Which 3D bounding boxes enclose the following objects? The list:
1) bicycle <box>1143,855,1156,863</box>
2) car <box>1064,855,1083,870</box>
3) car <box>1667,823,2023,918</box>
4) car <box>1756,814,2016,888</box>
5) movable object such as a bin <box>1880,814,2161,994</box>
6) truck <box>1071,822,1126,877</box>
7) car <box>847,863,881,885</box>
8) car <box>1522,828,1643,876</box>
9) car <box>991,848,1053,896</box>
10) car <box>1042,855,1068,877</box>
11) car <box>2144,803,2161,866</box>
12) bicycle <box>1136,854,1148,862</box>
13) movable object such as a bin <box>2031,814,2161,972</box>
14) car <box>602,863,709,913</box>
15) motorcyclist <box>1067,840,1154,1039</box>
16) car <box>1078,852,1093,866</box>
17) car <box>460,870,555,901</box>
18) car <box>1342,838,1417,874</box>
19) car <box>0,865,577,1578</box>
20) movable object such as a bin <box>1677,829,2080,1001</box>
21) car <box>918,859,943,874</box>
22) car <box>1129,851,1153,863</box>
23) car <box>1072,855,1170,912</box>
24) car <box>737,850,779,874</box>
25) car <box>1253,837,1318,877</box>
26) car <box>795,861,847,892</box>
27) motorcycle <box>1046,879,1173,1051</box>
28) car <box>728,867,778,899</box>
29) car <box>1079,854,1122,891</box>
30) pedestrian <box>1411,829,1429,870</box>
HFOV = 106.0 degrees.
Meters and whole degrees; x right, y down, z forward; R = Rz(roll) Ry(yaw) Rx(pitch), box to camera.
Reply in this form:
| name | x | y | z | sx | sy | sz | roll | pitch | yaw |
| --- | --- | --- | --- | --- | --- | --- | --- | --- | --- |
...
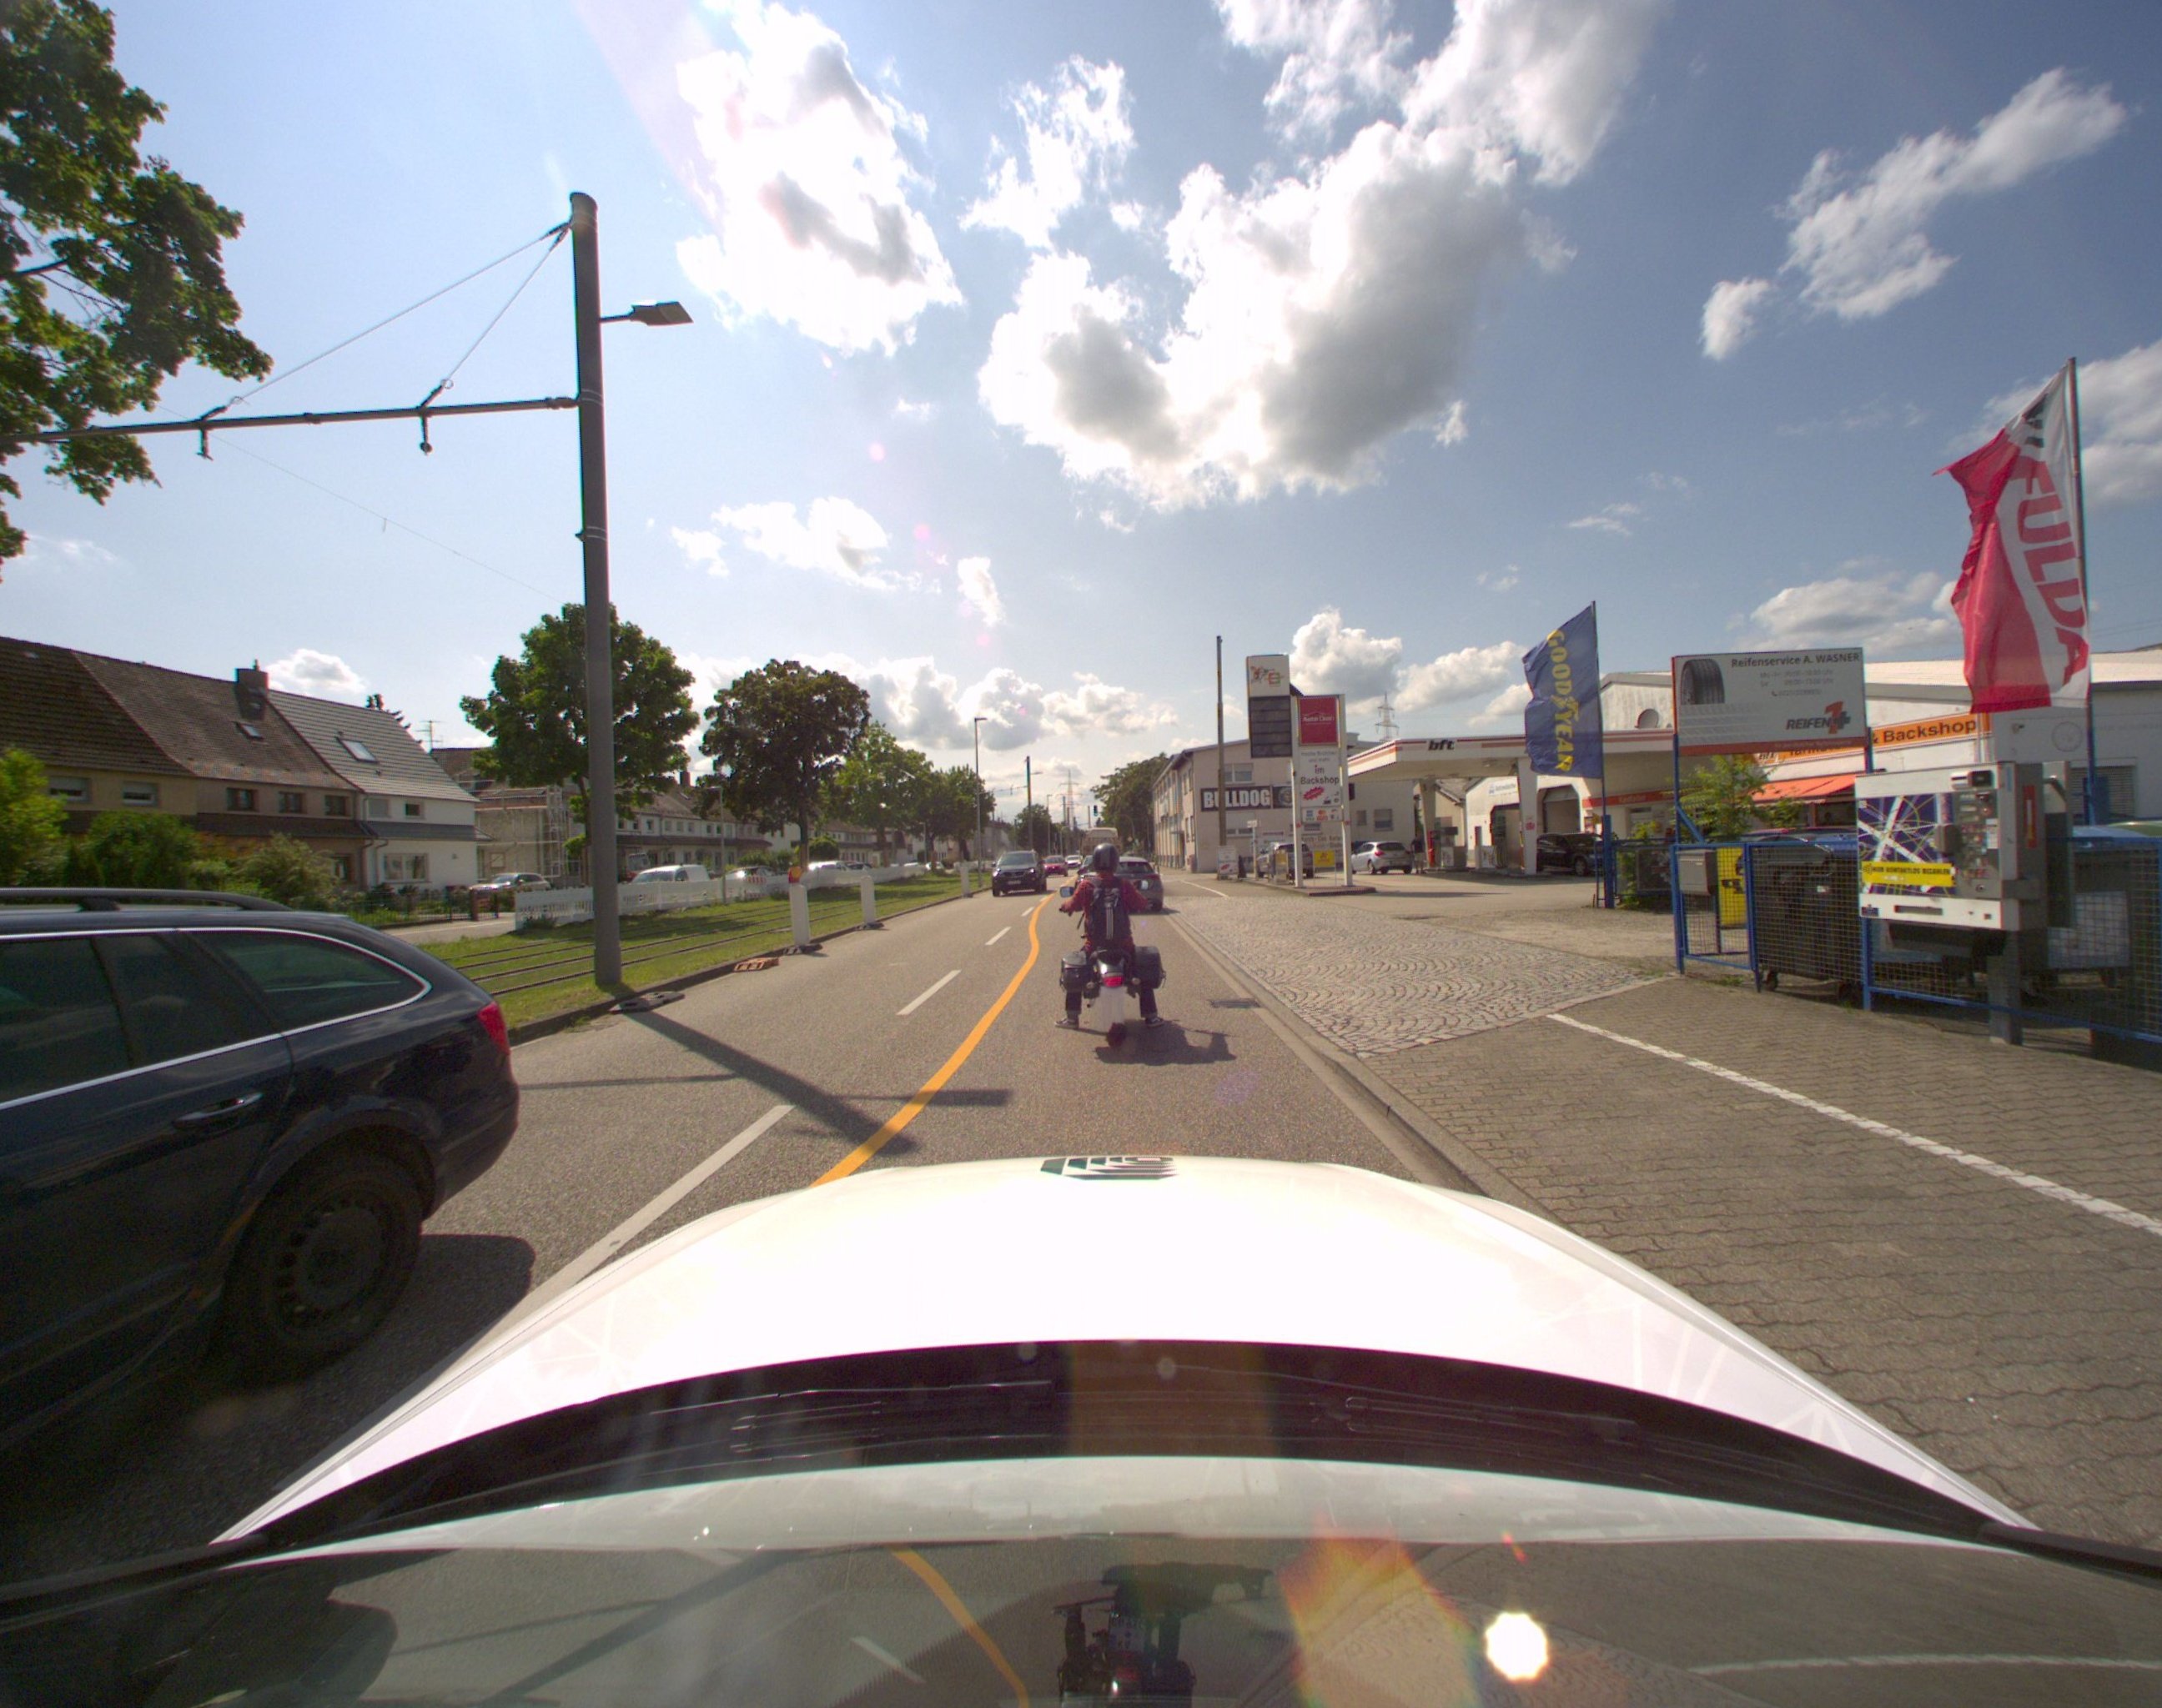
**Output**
| name | x | y | z | sx | sy | sz | roll | pitch | yaw |
| --- | --- | --- | --- | --- | --- | --- | --- | --- | --- |
| bicycle | 9.795 | 0.701 | 116.356 | 1.699 | 1.172 | 0.439 | 0 | -1 | 6 |
| car | -0.754 | 0.929 | 85.838 | 1.815 | 1.445 | 4.484 | -3 | -1 | 1 |
| car | 12.257 | 0.264 | 13.320 | 4.029 | 1.408 | 1.651 | -1 | 0 | 8 |
| car | 18.432 | -0.060 | 18.811 | 4.118 | 1.424 | 1.772 | -3 | -1 | 2 |
| movable object such as a bin | 8.794 | 0.398 | 7.304 | 1.526 | 1.410 | 1.765 | 0 | -1 | 1 |
| truck | 1.238 | -0.222 | 50.642 | 2.954 | 3.173 | 7.773 | 0 | -1 | 4 |
| car | -14.753 | 1.362 | 55.526 | 1.345 | 1.377 | 3.115 | -3 | -1 | 2 |
| car | 17.938 | -0.120 | 29.384 | 1.676 | 1.519 | 4.495 | -3 | 1 | 2 |
| car | -2.263 | 0.688 | 32.548 | 1.788 | 1.690 | 4.226 | -3 | -1 | 4 |
| car | -1.799 | 0.837 | 57.082 | 1.572 | 1.469 | 3.721 | 0 | -1 | 2 |
| car | 26.255 | -0.534 | 17.910 | 3.569 | 1.424 | 1.529 | -3 | -1 | 2 |
| bicycle | 8.766 | 0.529 | 117.704 | 1.699 | 1.172 | 0.439 | 0 | -1 | 6 |
| movable object such as a bin | 10.382 | 0.343 | 7.357 | 1.526 | 1.410 | 1.765 | 0 | -1 | 1 |
| car | -15.465 | 1.196 | 29.868 | 1.647 | 1.626 | 4.002 | -3 | -1 | 2 |
| motorcyclist | 0.247 | 0.697 | 6.946 | 0.695 | 1.604 | 0.692 | 0 | -1 | 1 |
| car | 0.638 | 0.628 | 106.331 | 1.818 | 1.666 | 4.463 | -3 | -1 | 1 |
| car | -27.343 | 1.467 | 38.995 | 1.528 | 1.275 | 4.121 | -3 | -1 | 2 |
| car | 13.505 | 0.114 | 37.159 | 1.687 | 1.471 | 4.421 | -3 | -1 | -1 |
| car | -3.181 | 0.840 | 1.416 | 1.705 | 1.486 | 4.535 | -3 | 0 | 0 |
| movable object such as a bin | 6.968 | 0.493 | 7.335 | 1.956 | 1.347 | 1.708 | 0 | -1 | 0 |
| car | -13.948 | 1.140 | 75.522 | 1.516 | 1.354 | 3.622 | 0 | -1 | 2 |
| car | 10.044 | 0.508 | 136.476 | 4.022 | 1.926 | 1.781 | 0 | -1 | -43 |
| car | 0.989 | 0.738 | 22.235 | 1.732 | 1.403 | 4.070 | 0 | 0 | -11 |
| car | -27.949 | 0.735 | 70.669 | 1.986 | 2.014 | 4.000 | 0 | -1 | 1 |
| car | 9.127 | 0.136 | 36.742 | 1.938 | 1.625 | 4.619 | -1 | 0 | 3 |
| car | -15.168 | 1.300 | 47.720 | 1.616 | 1.651 | 3.900 | -3 | -1 | 2 |
| motorcycle | 0.254 | 0.864 | 7.300 | 0.939 | 1.200 | 2.473 | 0 | 0 | 2 |
| car | -15.140 | 1.328 | 37.706 | 1.067 | 1.348 | 2.452 | -3 | -1 | 5 |
| car | 0.865 | 0.718 | 33.873 | 1.637 | 1.444 | 3.751 | 0 | 0 | 3 |
| pedestrian | 14.692 | -0.192 | 35.299 | 0.495 | 1.776 | 0.577 | 0 | -1 | -1 |
